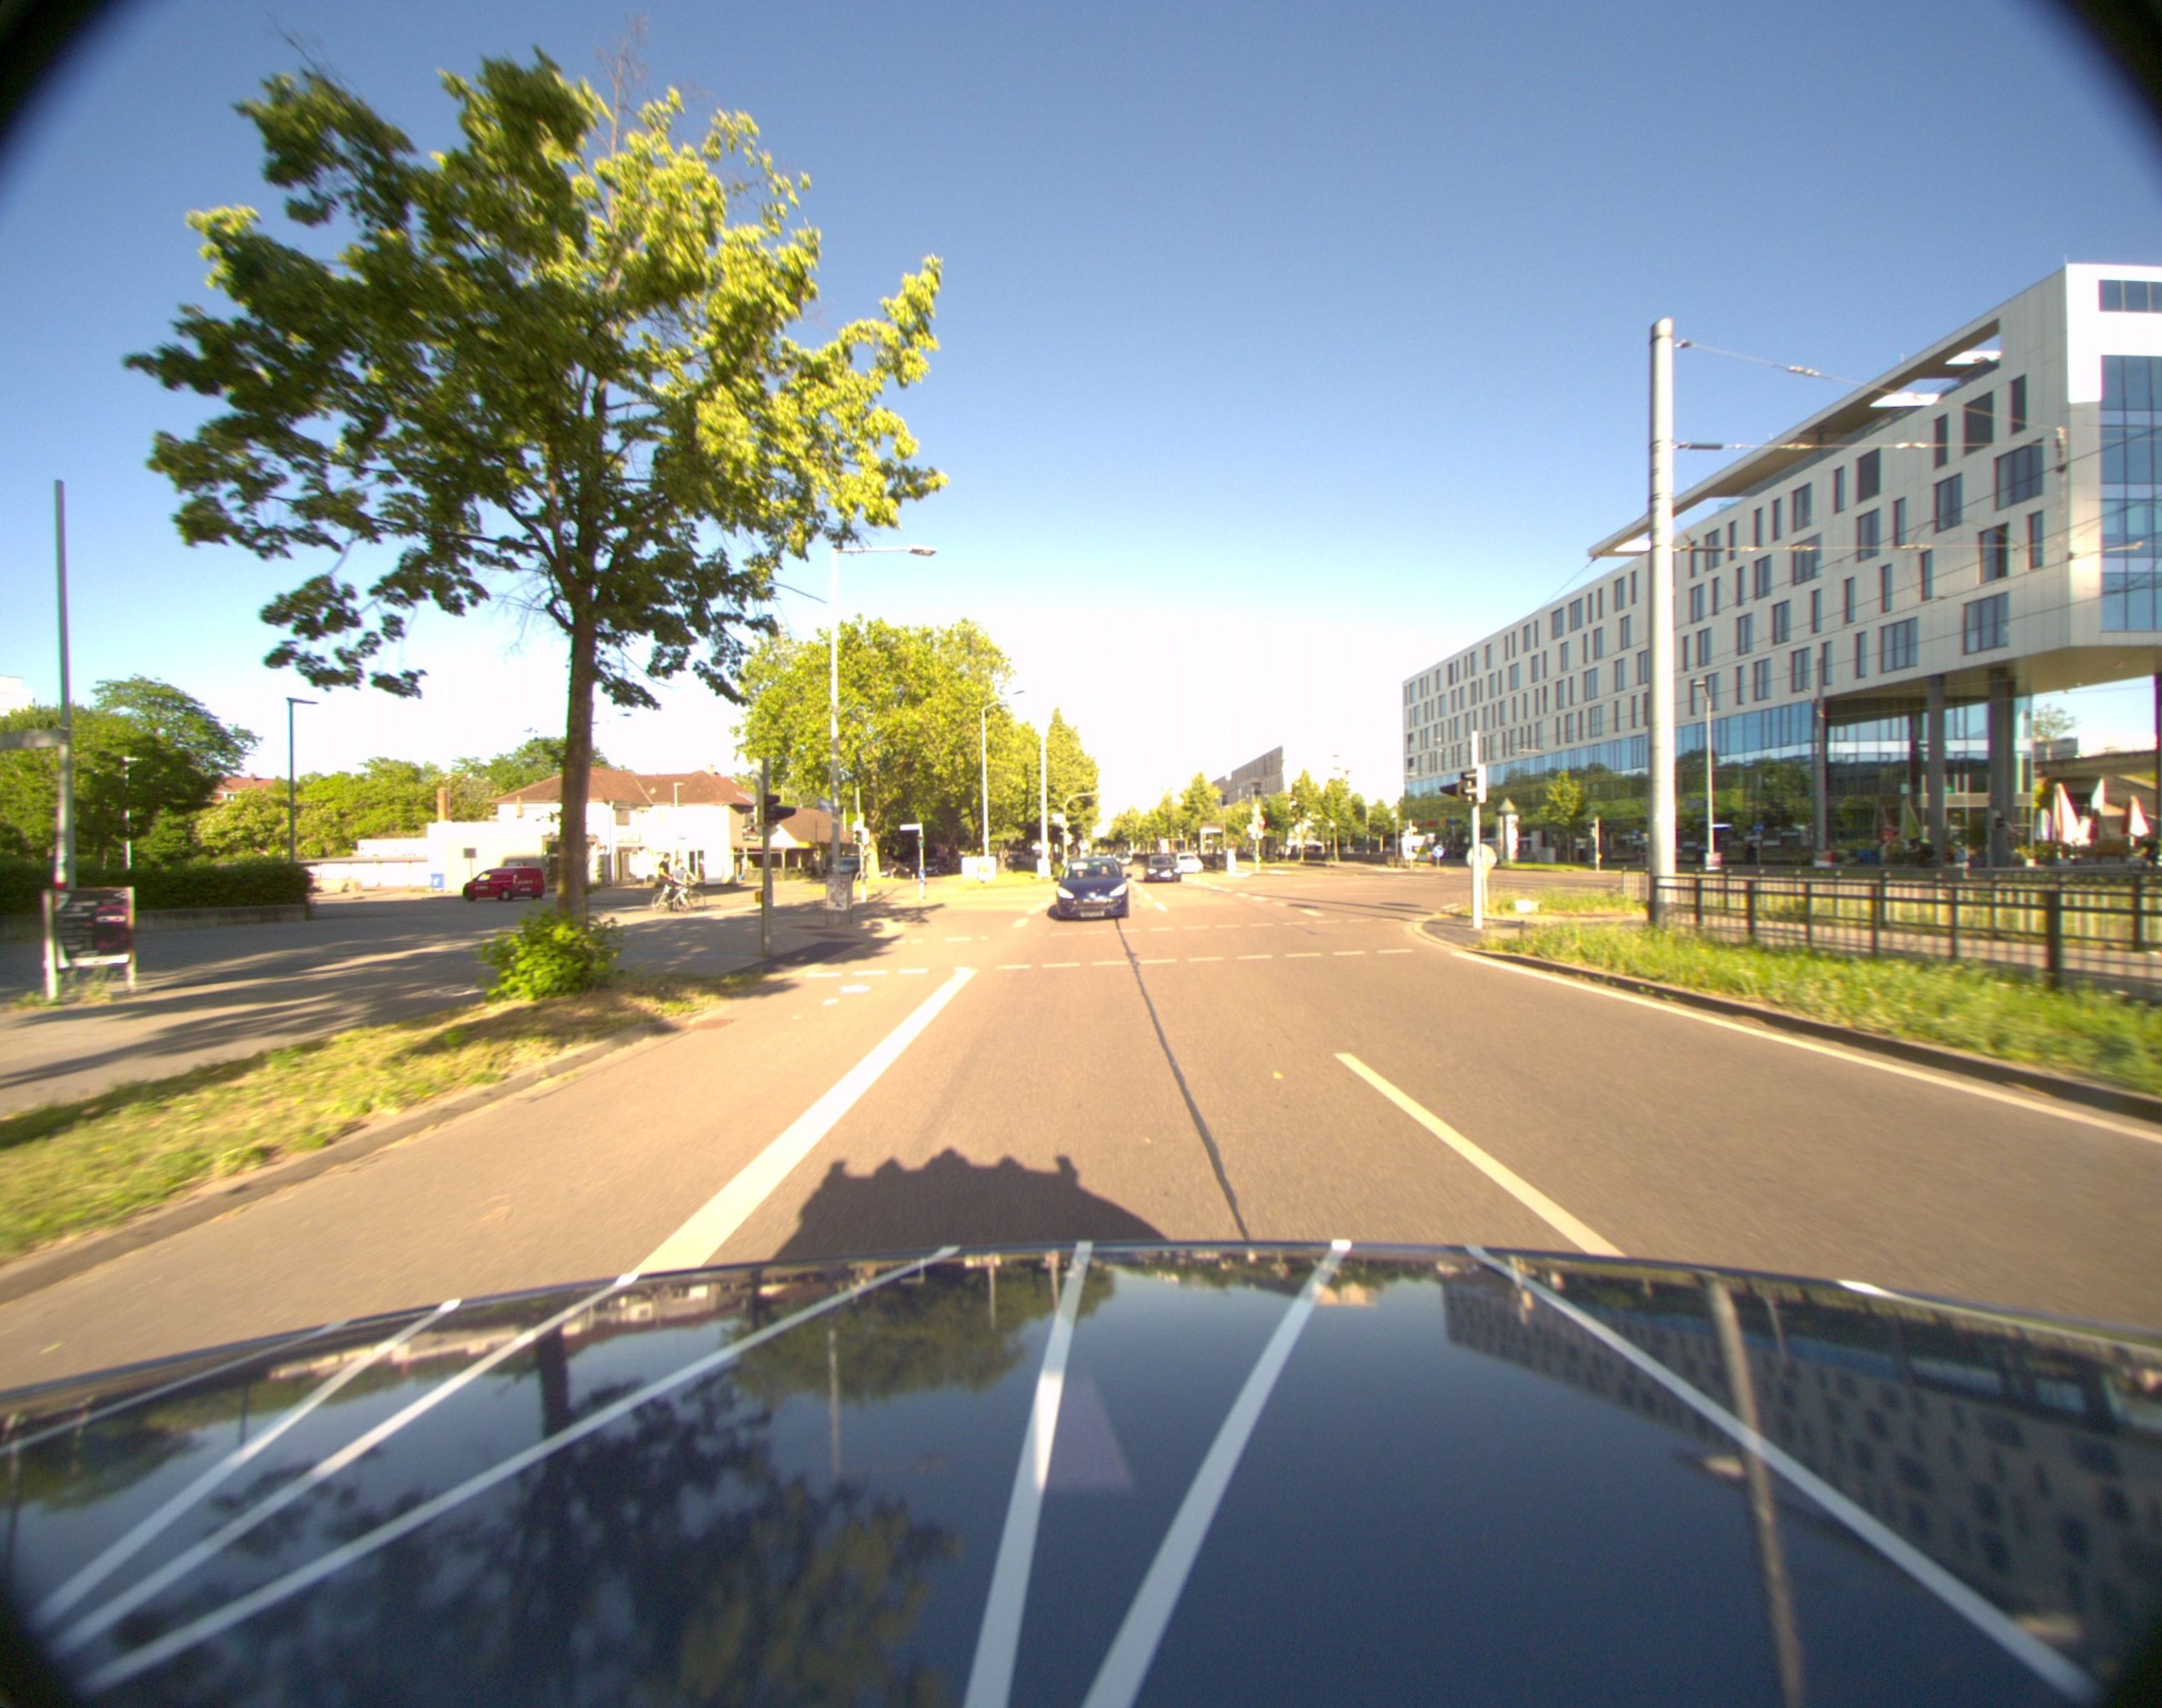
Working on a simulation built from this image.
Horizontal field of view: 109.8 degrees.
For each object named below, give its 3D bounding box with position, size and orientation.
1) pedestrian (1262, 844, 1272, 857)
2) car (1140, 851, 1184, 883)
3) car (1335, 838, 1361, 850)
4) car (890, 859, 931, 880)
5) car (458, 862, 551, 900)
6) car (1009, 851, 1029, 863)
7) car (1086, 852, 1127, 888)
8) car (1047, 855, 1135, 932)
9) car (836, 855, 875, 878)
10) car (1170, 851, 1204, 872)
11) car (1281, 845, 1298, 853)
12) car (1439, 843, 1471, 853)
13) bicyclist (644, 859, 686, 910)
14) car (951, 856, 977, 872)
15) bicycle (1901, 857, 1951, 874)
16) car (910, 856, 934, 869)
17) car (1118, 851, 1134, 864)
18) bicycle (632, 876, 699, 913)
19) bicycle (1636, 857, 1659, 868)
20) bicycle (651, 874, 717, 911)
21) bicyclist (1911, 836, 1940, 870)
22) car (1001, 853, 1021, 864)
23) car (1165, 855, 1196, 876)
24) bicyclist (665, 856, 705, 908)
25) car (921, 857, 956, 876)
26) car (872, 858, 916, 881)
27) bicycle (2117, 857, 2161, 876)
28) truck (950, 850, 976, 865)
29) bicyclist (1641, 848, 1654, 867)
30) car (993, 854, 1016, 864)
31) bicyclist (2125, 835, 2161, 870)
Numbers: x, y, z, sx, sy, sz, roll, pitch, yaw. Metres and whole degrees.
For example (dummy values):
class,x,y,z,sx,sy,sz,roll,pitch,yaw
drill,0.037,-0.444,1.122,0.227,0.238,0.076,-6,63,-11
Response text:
class,x,y,z,sx,sy,sz,roll,pitch,yaw
pedestrian,21.781,-0.441,88.936,1.068,1.458,0.844,-2,1,5
car,4.296,0.658,40.957,1.803,1.518,4.342,-3,1,-1
car,35.776,-1.359,101.926,1.803,1.518,4.342,-3,1,-1
car,-13.046,1.156,58.422,1.898,1.403,4.347,-2,0,4
car,-30.386,1.408,40.079,4.106,1.804,1.857,-3,-1,18
car,-8.957,0.377,110.484,1.997,1.587,4.656,-2,0,6
car,1.268,0.721,36.420,1.802,1.518,4.606,-3,1,3
car,0.351,0.846,18.452,1.802,1.518,4.606,-3,1,3
car,-20.482,1.103,69.266,1.898,2.025,5.071,0,1,3
car,7.649,0.517,54.971,1.676,1.418,4.004,-3,1,-3
car,36.470,-0.934,132.716,1.875,1.347,4.000,-3,1,1
car,58.927,-0.920,119.714,3.998,1.347,1.875,-3,1,-4
bicyclist,-13.667,1.008,24.995,0.876,1.644,0.794,-1,0,12
car,-11.832,0.996,77.267,1.898,1.477,4.049,-2,0,1
bicycle,42.818,0.579,38.535,0.529,0.858,1.834,-1,0,1
car,-19.377,1.009,92.941,1.998,1.520,4.654,1,0,0
car,5.324,0.395,89.436,1.675,1.418,4.005,-3,1,1
bicycle,-13.687,1.320,25.019,2.100,1.196,0.552,-1,0,15
bicycle,42.610,0.639,57.175,0.483,0.858,1.692,-1,0,-2
bicycle,-13.563,1.311,25.953,2.100,1.196,0.552,-1,0,12
bicyclist,42.806,-0.041,38.511,0.531,1.716,0.837,-1,1,1
car,-9.632,0.571,105.119,1.998,1.355,4.866,-2,0,3
car,7.964,0.871,61.336,1.803,1.518,4.342,-3,1,-1
bicyclist,-13.498,0.951,25.910,0.876,1.727,0.833,-1,0,12
car,-12.644,1.092,67.763,1.898,1.479,4.347,-2,0,5
car,-13.237,1.058,53.946,1.898,1.457,4.037,-2,0,3
bicycle,49.104,0.570,34.941,1.829,0.858,0.749,-1,0,2
truck,-17.693,0.438,114.374,2.454,2.063,6.581,-2,0,3
bicyclist,42.603,0.228,57.141,0.483,1.414,0.553,-1,1,-2
car,-9.849,0.628,98.204,1.998,1.242,4.656,-2,0,5
bicyclist,49.028,-0.052,34.937,0.955,1.574,0.751,-1,1,2
